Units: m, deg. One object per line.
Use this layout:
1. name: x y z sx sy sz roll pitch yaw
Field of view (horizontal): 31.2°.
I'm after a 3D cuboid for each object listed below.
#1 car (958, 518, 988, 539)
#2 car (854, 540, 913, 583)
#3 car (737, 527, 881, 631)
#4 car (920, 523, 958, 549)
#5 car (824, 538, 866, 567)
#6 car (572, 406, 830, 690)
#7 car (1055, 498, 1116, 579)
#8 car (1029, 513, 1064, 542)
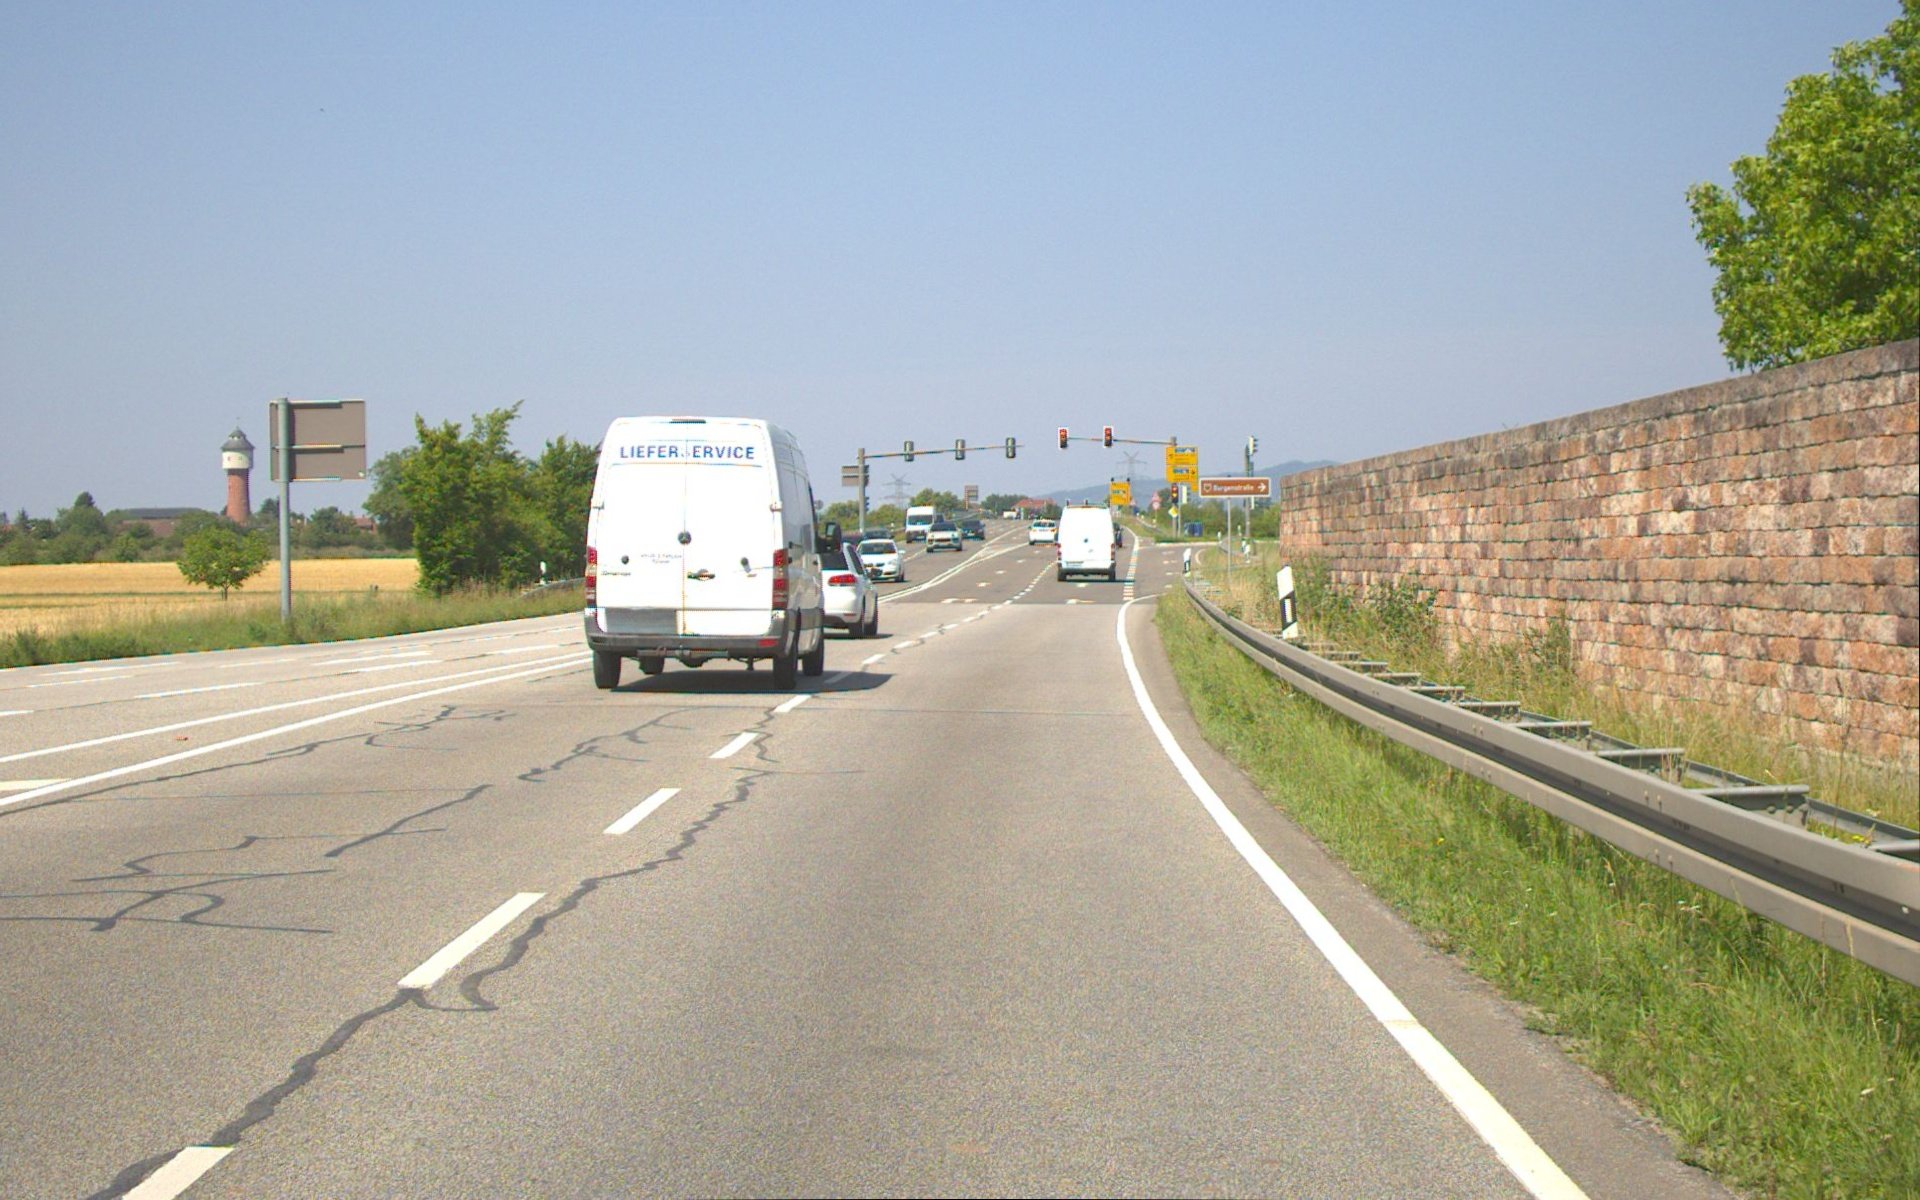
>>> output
1. car: 0.899 -5.087 244.286 1.857 1.418 3.999 1 0 4
2. car: -2.567 -1.315 116.780 1.749 1.437 4.081 0 1 2
3. car: -2.269 -0.340 52.653 1.799 1.503 4.196 -1 1 3
4. car: -1.211 -3.680 197.896 1.857 1.418 4.000 -1 1 4
5. car: -5.221 -2.152 156.330 1.870 1.251 4.281 1 0 -1
6. car: -2.531 -0.508 35.008 2.039 2.611 5.741 1 0 1
7. car: 4.306 -2.106 117.559 1.994 2.686 4.969 -1 1 3
8. car: 5.312 -4.425 211.363 1.994 1.697 4.275 1 0 3
